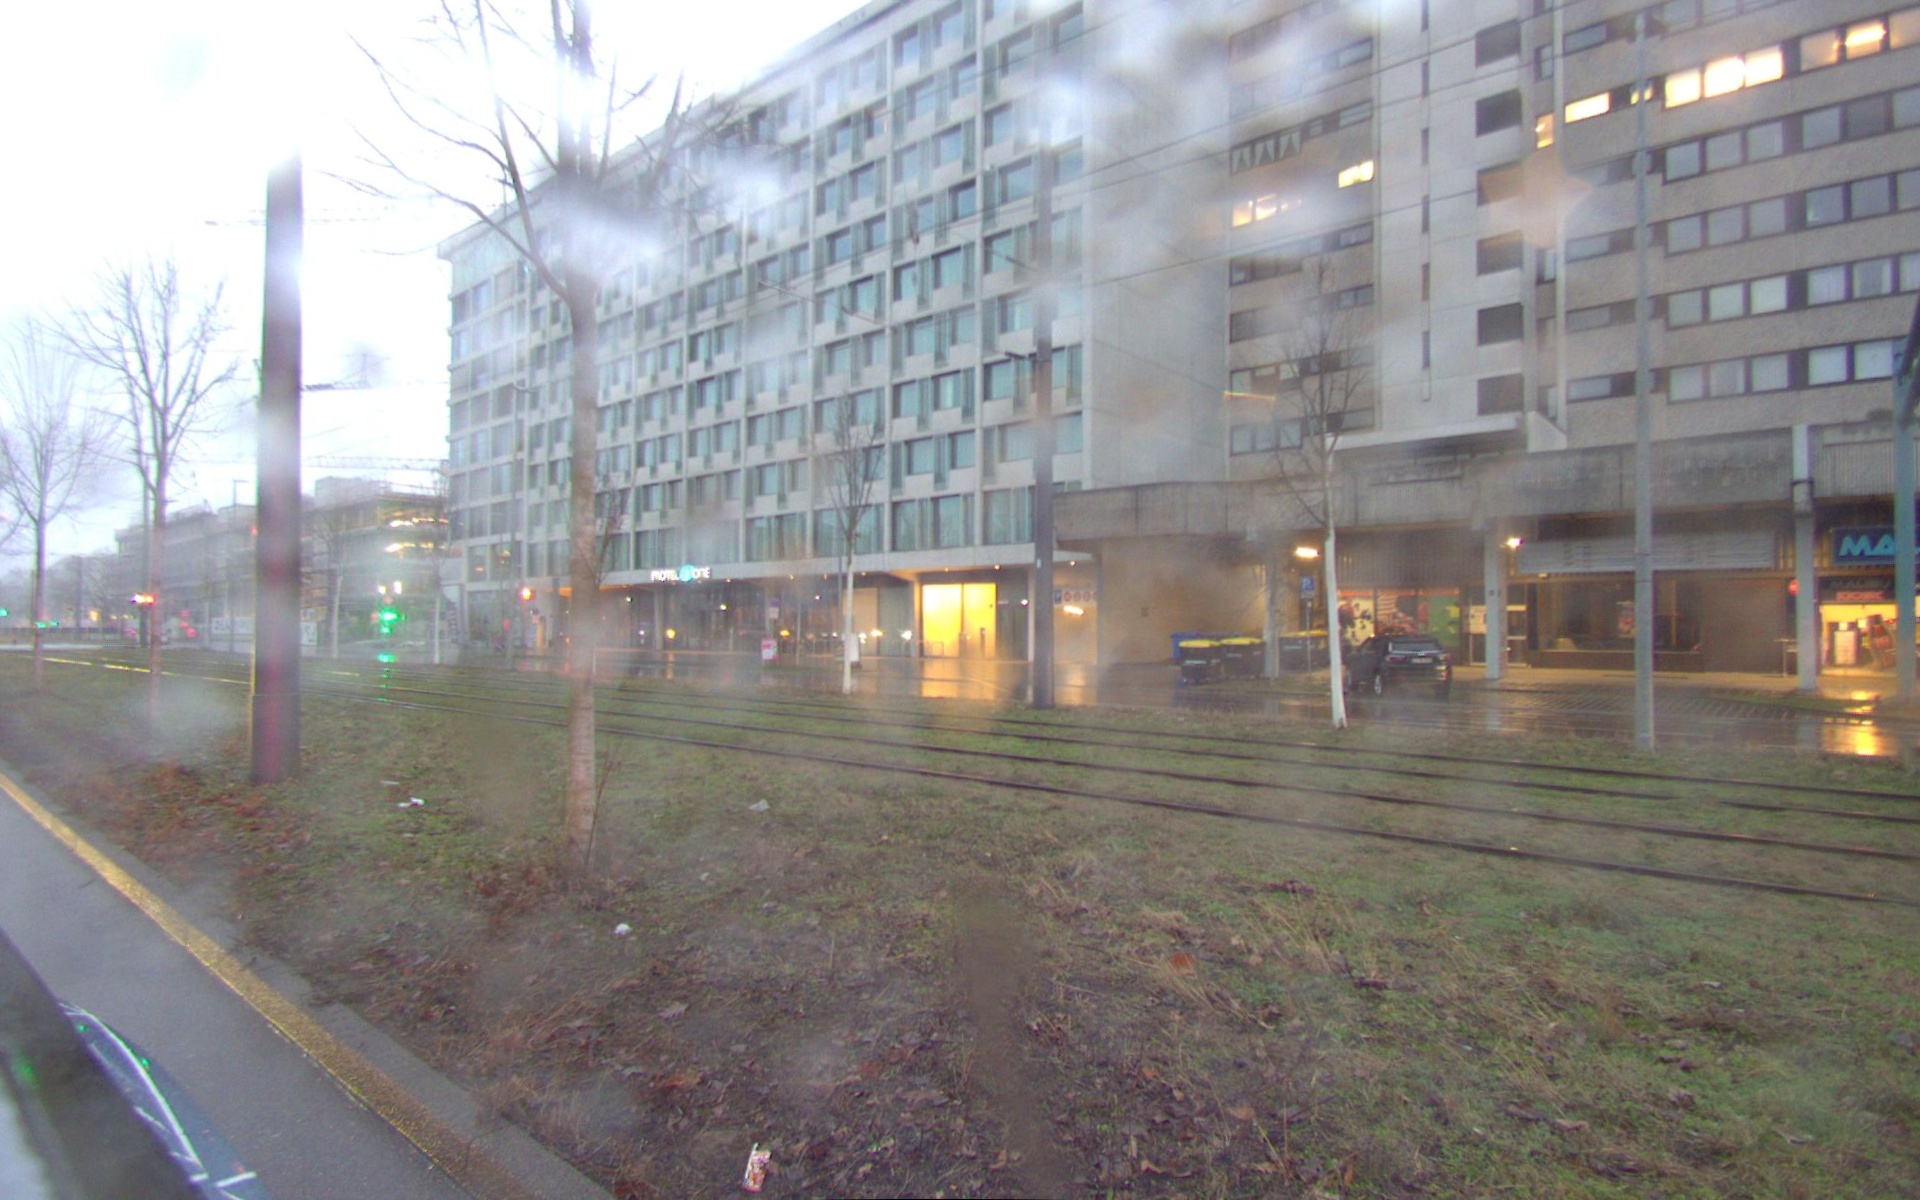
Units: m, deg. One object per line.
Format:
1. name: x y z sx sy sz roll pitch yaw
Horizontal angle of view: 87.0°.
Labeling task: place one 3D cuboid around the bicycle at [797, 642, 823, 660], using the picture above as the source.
1. bicycle: -7.885 2.677 53.223 0.465 0.860 1.332 -1 0 39

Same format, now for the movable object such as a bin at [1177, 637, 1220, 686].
1. movable object such as a bin: 7.334 1.880 31.096 1.027 1.437 1.063 -1 0 30

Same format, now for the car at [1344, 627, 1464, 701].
1. car: 11.968 1.678 27.587 1.962 1.706 4.131 -1 0 9

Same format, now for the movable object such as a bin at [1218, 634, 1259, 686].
1. movable object such as a bin: 8.688 1.852 31.549 1.008 1.512 1.042 -1 0 30
